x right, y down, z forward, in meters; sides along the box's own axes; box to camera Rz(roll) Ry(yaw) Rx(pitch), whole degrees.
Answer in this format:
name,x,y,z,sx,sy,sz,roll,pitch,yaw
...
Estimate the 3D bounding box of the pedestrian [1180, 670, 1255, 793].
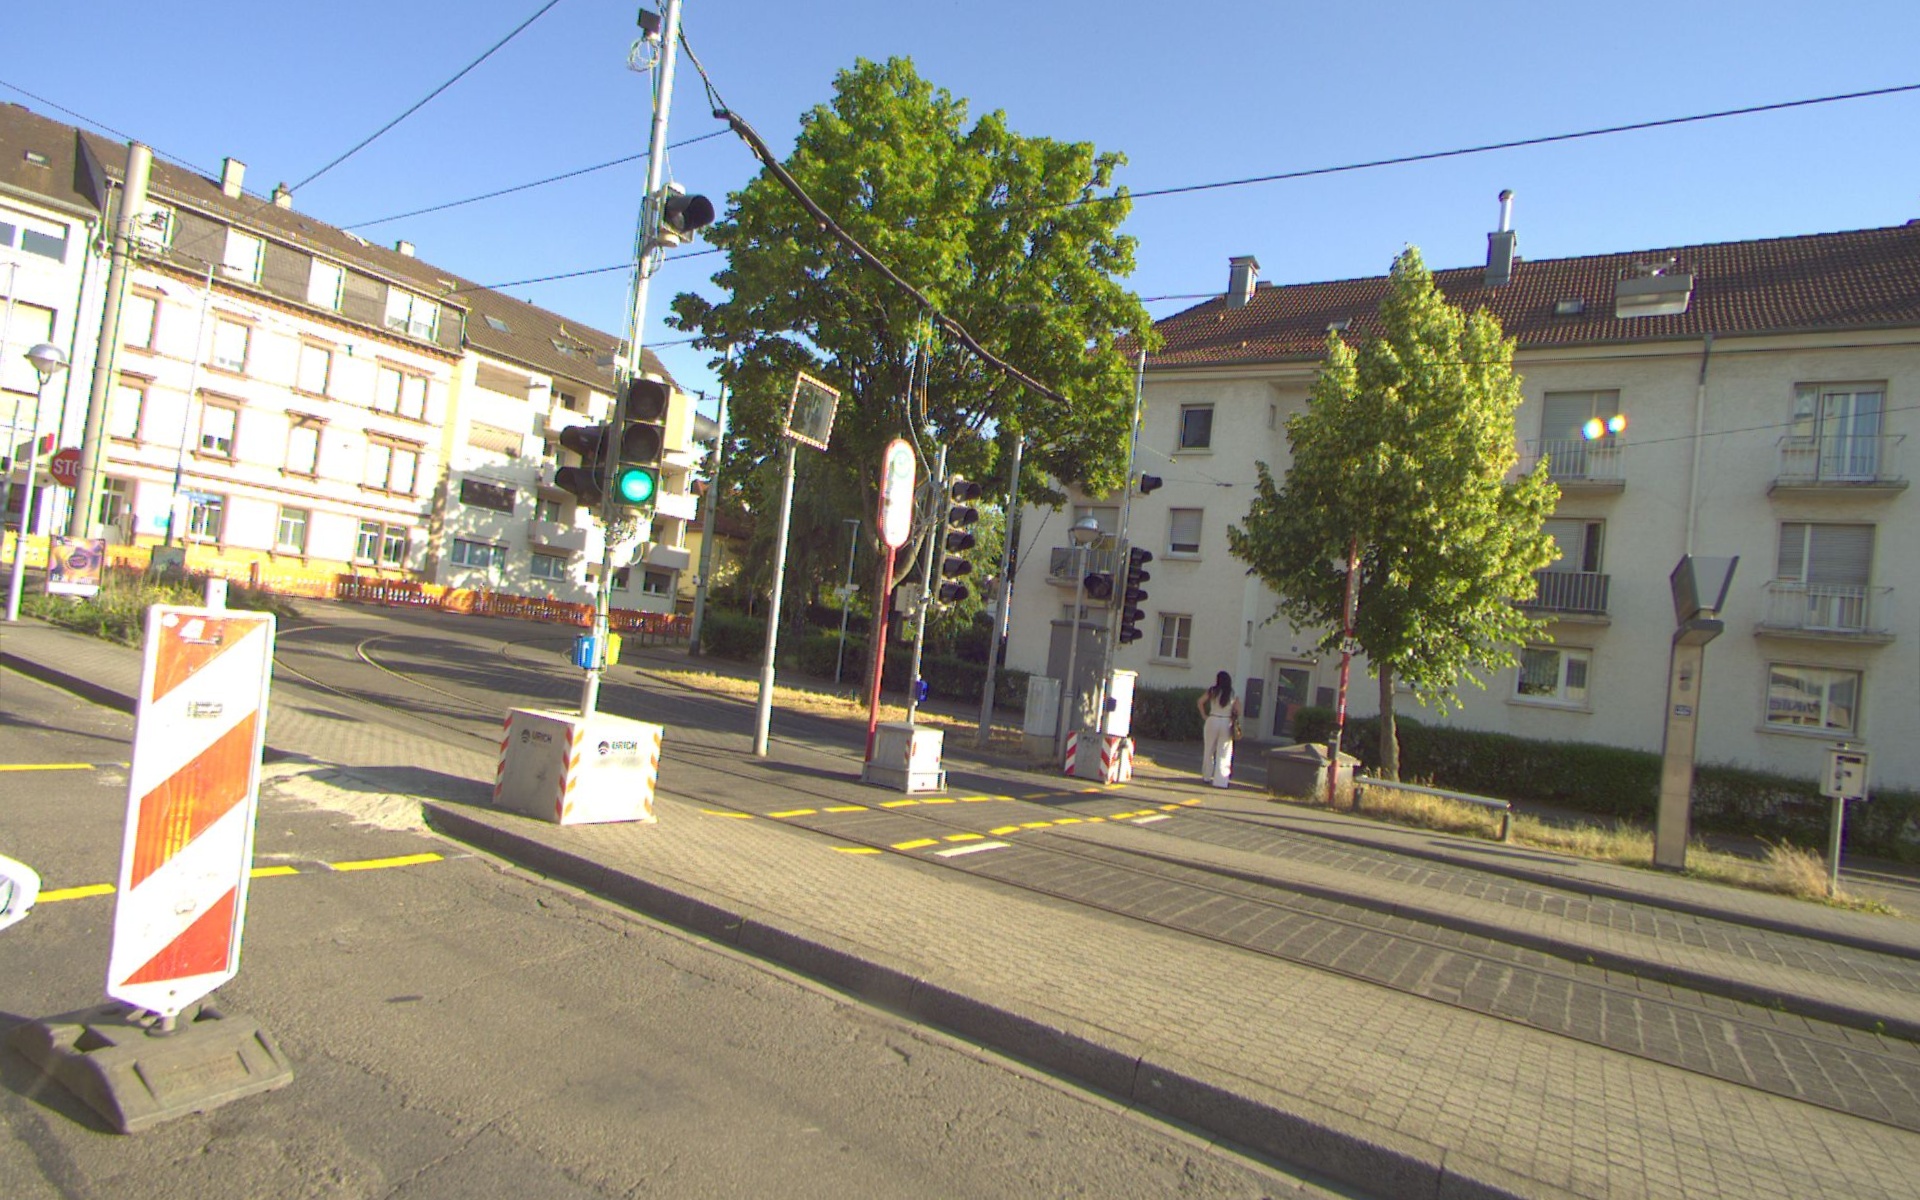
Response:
name,x,y,z,sx,sy,sz,roll,pitch,yaw
pedestrian,3.764,1.895,14.665,0.811,1.639,0.791,6,-1,21
